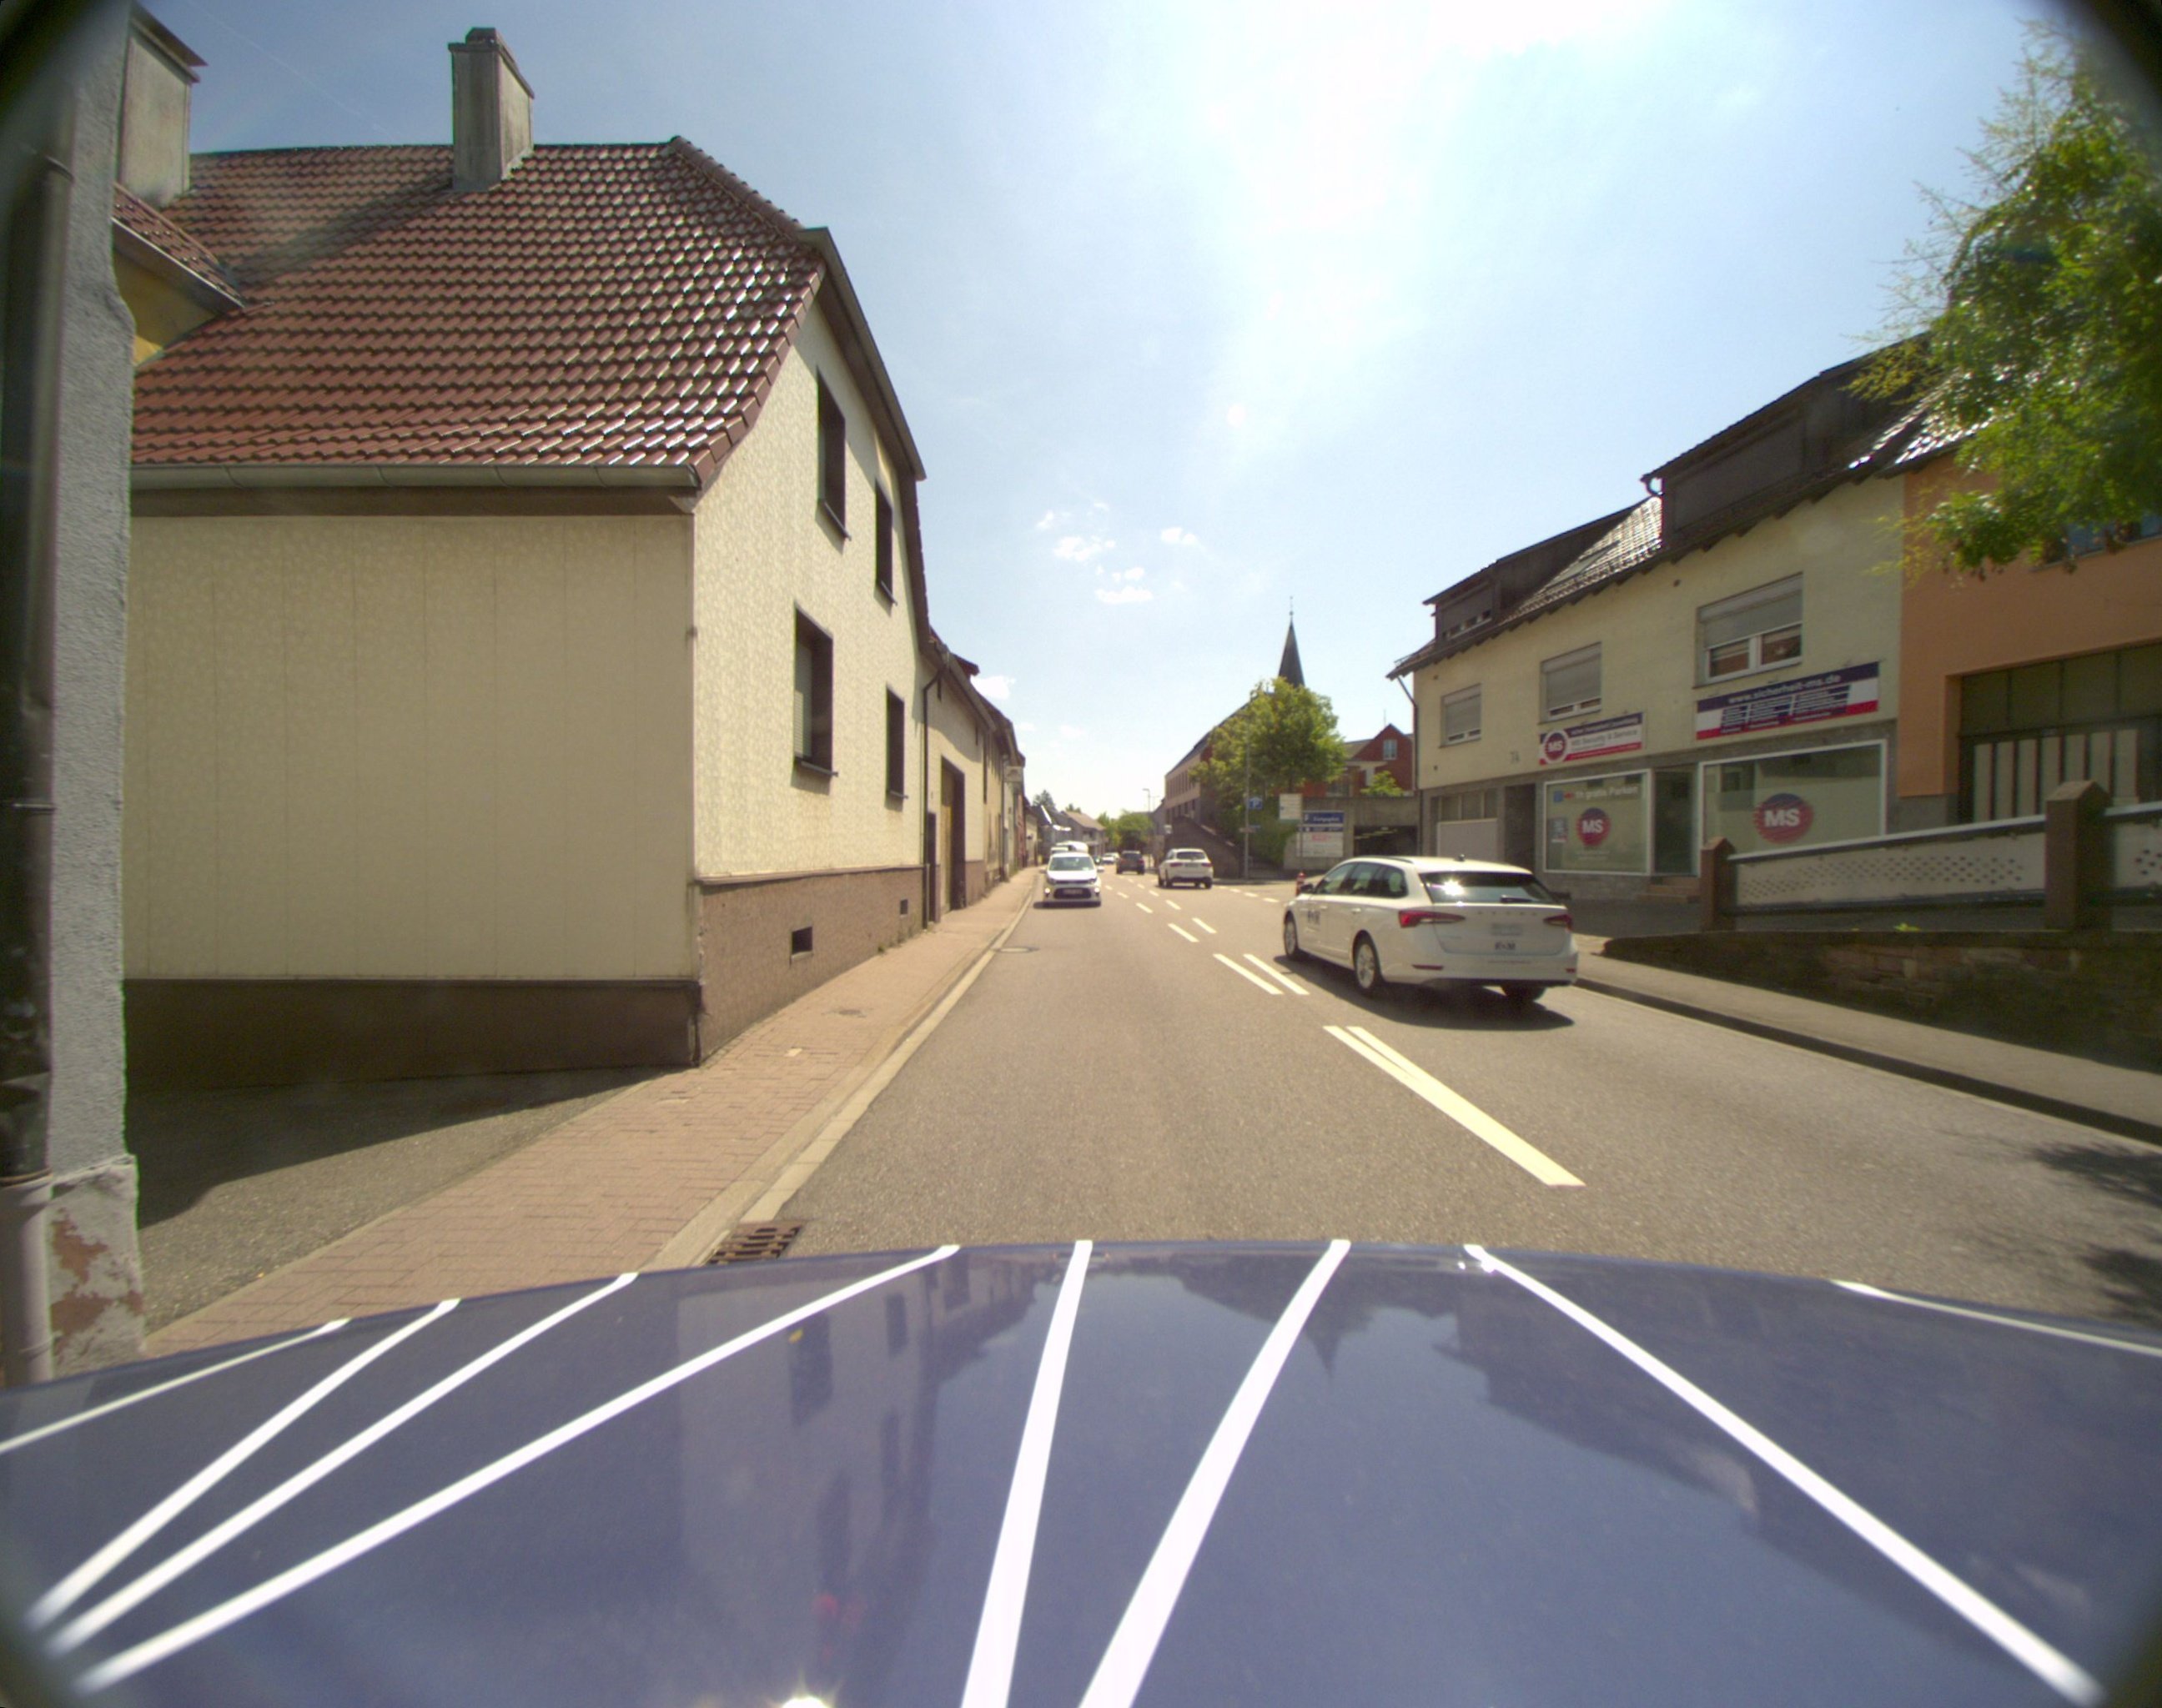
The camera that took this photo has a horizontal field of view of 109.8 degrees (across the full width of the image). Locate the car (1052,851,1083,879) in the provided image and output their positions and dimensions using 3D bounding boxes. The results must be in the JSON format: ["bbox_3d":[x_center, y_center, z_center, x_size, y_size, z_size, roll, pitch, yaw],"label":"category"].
[{"bbox_3d":[-0.845,0.615,46.232,1.725,1.541,4.302,-2,0,-2],"label":"car"}]

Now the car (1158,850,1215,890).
[{"bbox_3d":[4.415,0.637,32.487,1.847,1.571,4.445,0,0,0],"label":"car"}]

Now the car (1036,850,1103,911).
[{"bbox_3d":[-0.238,0.702,22.398,1.724,1.541,4.303,-2,0,2],"label":"car"}]

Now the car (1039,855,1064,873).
[{"bbox_3d":[-2.465,0.824,62.726,1.930,1.358,4.301,-2,0,-4],"label":"car"}]

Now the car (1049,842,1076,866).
[{"bbox_3d":[-1.995,-0.038,83.096,2.174,2.549,4.827,0,0,7],"label":"car"}]

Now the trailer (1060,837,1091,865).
[{"bbox_3d":[-0.598,-0.414,103.455,2.836,3.549,10.970,0,0,7],"label":"trailer"}]

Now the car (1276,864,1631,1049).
[{"bbox_3d":[3.708,0.897,8.616,1.818,1.438,4.429,1,1,0],"label":"car"}]

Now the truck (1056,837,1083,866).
[{"bbox_3d":[-1.427,-0.345,96.581,2.847,3.549,5.470,0,0,6],"label":"truck"}]

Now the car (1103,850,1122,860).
[{"bbox_3d":[5.262,0.095,126.785,2.009,1.621,4.583,0,0,16],"label":"car"}]

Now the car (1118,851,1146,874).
[{"bbox_3d":[3.688,0.565,55.070,1.762,1.626,4.049,0,0,0],"label":"car"}]

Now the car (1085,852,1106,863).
[{"bbox_3d":[2.240,0.468,116.626,2.009,1.621,4.583,0,0,16],"label":"car"}]
